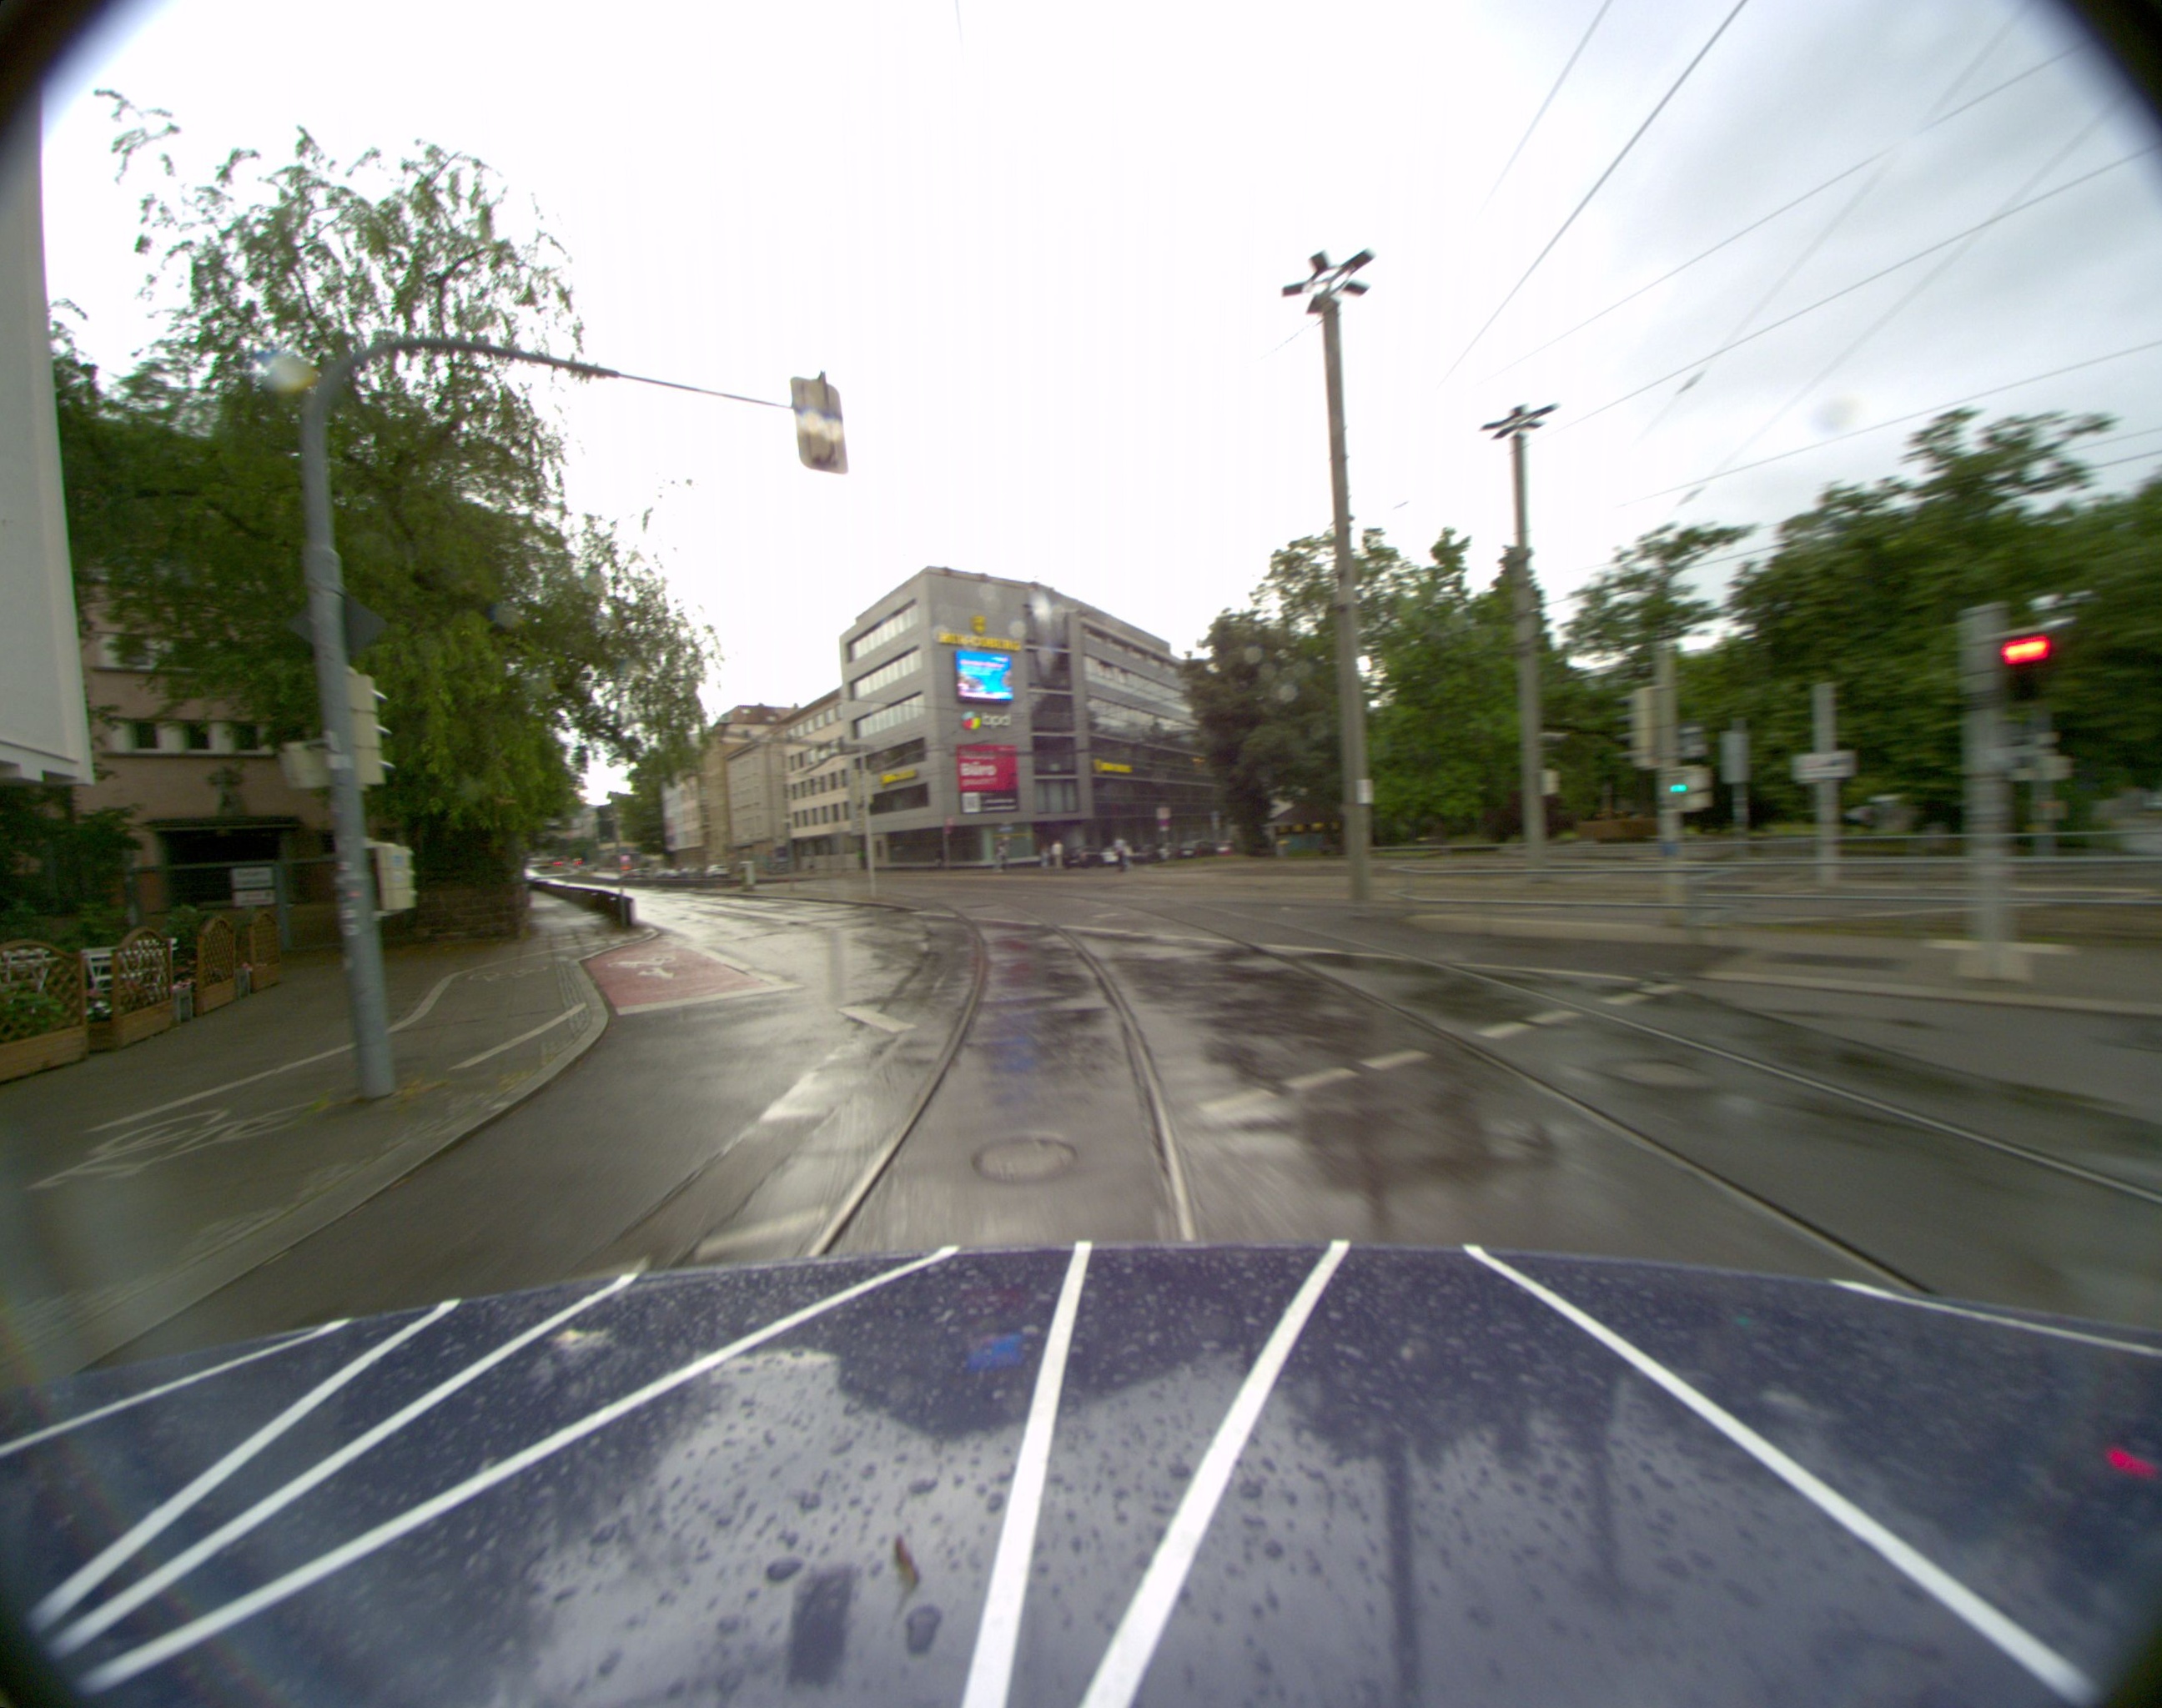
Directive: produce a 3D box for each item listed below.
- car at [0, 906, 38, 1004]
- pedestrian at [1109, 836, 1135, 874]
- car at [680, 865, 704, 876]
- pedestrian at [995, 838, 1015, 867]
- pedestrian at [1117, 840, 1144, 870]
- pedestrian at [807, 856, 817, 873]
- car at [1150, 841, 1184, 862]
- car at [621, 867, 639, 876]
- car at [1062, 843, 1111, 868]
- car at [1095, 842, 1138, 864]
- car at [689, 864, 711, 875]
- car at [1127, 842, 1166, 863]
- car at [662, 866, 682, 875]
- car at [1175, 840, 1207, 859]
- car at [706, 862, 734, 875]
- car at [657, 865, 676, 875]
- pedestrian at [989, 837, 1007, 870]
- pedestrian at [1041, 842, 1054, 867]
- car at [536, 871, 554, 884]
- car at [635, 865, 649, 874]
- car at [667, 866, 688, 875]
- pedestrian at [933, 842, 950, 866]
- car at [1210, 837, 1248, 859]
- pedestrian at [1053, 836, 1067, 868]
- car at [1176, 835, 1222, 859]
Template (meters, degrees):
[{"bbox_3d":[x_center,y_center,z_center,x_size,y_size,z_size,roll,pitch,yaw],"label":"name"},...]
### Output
[{"bbox_3d":[-18.593,1.696,11.272,3.200,1.498,1.796,-3,1,-36],"label":"car"},{"bbox_3d":[2.115,0.025,39.489,0.914,1.853,1.001,-6,3,-18],"label":"pedestrian"},{"bbox_3d":[-53.501,2.249,104.415,2.004,1.447,5.009,-1,0,-38],"label":"car"},{"bbox_3d":[-4.944,-0.092,49.538,0.975,1.806,0.661,-8,5,-43],"label":"pedestrian"},{"bbox_3d":[2.746,0.055,41.877,1.005,1.585,0.911,-8,5,-44],"label":"pedestrian"},{"bbox_3d":[-25.931,0.982,73.208,0.549,1.604,0.796,-8,4,-35],"label":"pedestrian"},{"bbox_3d":[7.194,-0.221,63.325,1.698,1.546,3.545,-2,1,26],"label":"car"},{"bbox_3d":[-79.118,3.040,133.303,1.950,1.527,4.337,-1,0,-41],"label":"car"},{"bbox_3d":[0.431,0.063,51.272,1.698,1.542,3.747,-2,1,29],"label":"car"},{"bbox_3d":[2.620,-0.079,54.995,1.698,1.446,3.747,-2,1,26],"label":"car"},{"bbox_3d":[-50.197,2.048,100.118,1.745,1.447,4.159,-1,0,-38],"label":"car"},{"bbox_3d":[5.065,-0.131,58.699,1.698,1.446,3.747,-2,1,26],"label":"car"},{"bbox_3d":[-63.032,2.536,117.079,1.847,1.389,4.255,-3,1,-38],"label":"car"},{"bbox_3d":[9.685,-0.395,66.871,1.698,1.546,3.545,-2,1,26],"label":"car"},{"bbox_3d":[-43.216,1.744,90.973,2.004,1.527,4.737,-1,0,-38],"label":"car"},{"bbox_3d":[-66.393,2.542,121.672,1.847,1.596,4.217,-3,1,-38],"label":"car"},{"bbox_3d":[-5.248,-0.042,48.211,0.664,2.003,0.808,-7,4,-34],"label":"pedestrian"},{"bbox_3d":[-2.202,0.037,50.076,0.589,1.585,0.634,-6,4,-20],"label":"pedestrian"},{"bbox_3d":[-72.103,3.120,102.230,1.792,1.521,4.234,-5,2,-36],"label":"car"},{"bbox_3d":[-83.569,2.999,144.592,1.847,1.532,4.217,-3,1,-36],"label":"car"},{"bbox_3d":[-59.922,2.448,112.914,2.004,1.389,5.009,-1,0,-37],"label":"car"},{"bbox_3d":[-9.788,-0.007,53.289,0.967,1.585,0.587,-6,4,-23],"label":"pedestrian"},{"bbox_3d":[10.601,-0.469,54.148,1.698,1.440,3.545,-2,1,27],"label":"car"},{"bbox_3d":[-1.376,-0.144,49.474,0.616,2.003,0.663,-4,3,15],"label":"pedestrian"},{"bbox_3d":[7.711,-0.471,49.321,1.698,1.440,3.546,-2,1,31],"label":"car"}]
